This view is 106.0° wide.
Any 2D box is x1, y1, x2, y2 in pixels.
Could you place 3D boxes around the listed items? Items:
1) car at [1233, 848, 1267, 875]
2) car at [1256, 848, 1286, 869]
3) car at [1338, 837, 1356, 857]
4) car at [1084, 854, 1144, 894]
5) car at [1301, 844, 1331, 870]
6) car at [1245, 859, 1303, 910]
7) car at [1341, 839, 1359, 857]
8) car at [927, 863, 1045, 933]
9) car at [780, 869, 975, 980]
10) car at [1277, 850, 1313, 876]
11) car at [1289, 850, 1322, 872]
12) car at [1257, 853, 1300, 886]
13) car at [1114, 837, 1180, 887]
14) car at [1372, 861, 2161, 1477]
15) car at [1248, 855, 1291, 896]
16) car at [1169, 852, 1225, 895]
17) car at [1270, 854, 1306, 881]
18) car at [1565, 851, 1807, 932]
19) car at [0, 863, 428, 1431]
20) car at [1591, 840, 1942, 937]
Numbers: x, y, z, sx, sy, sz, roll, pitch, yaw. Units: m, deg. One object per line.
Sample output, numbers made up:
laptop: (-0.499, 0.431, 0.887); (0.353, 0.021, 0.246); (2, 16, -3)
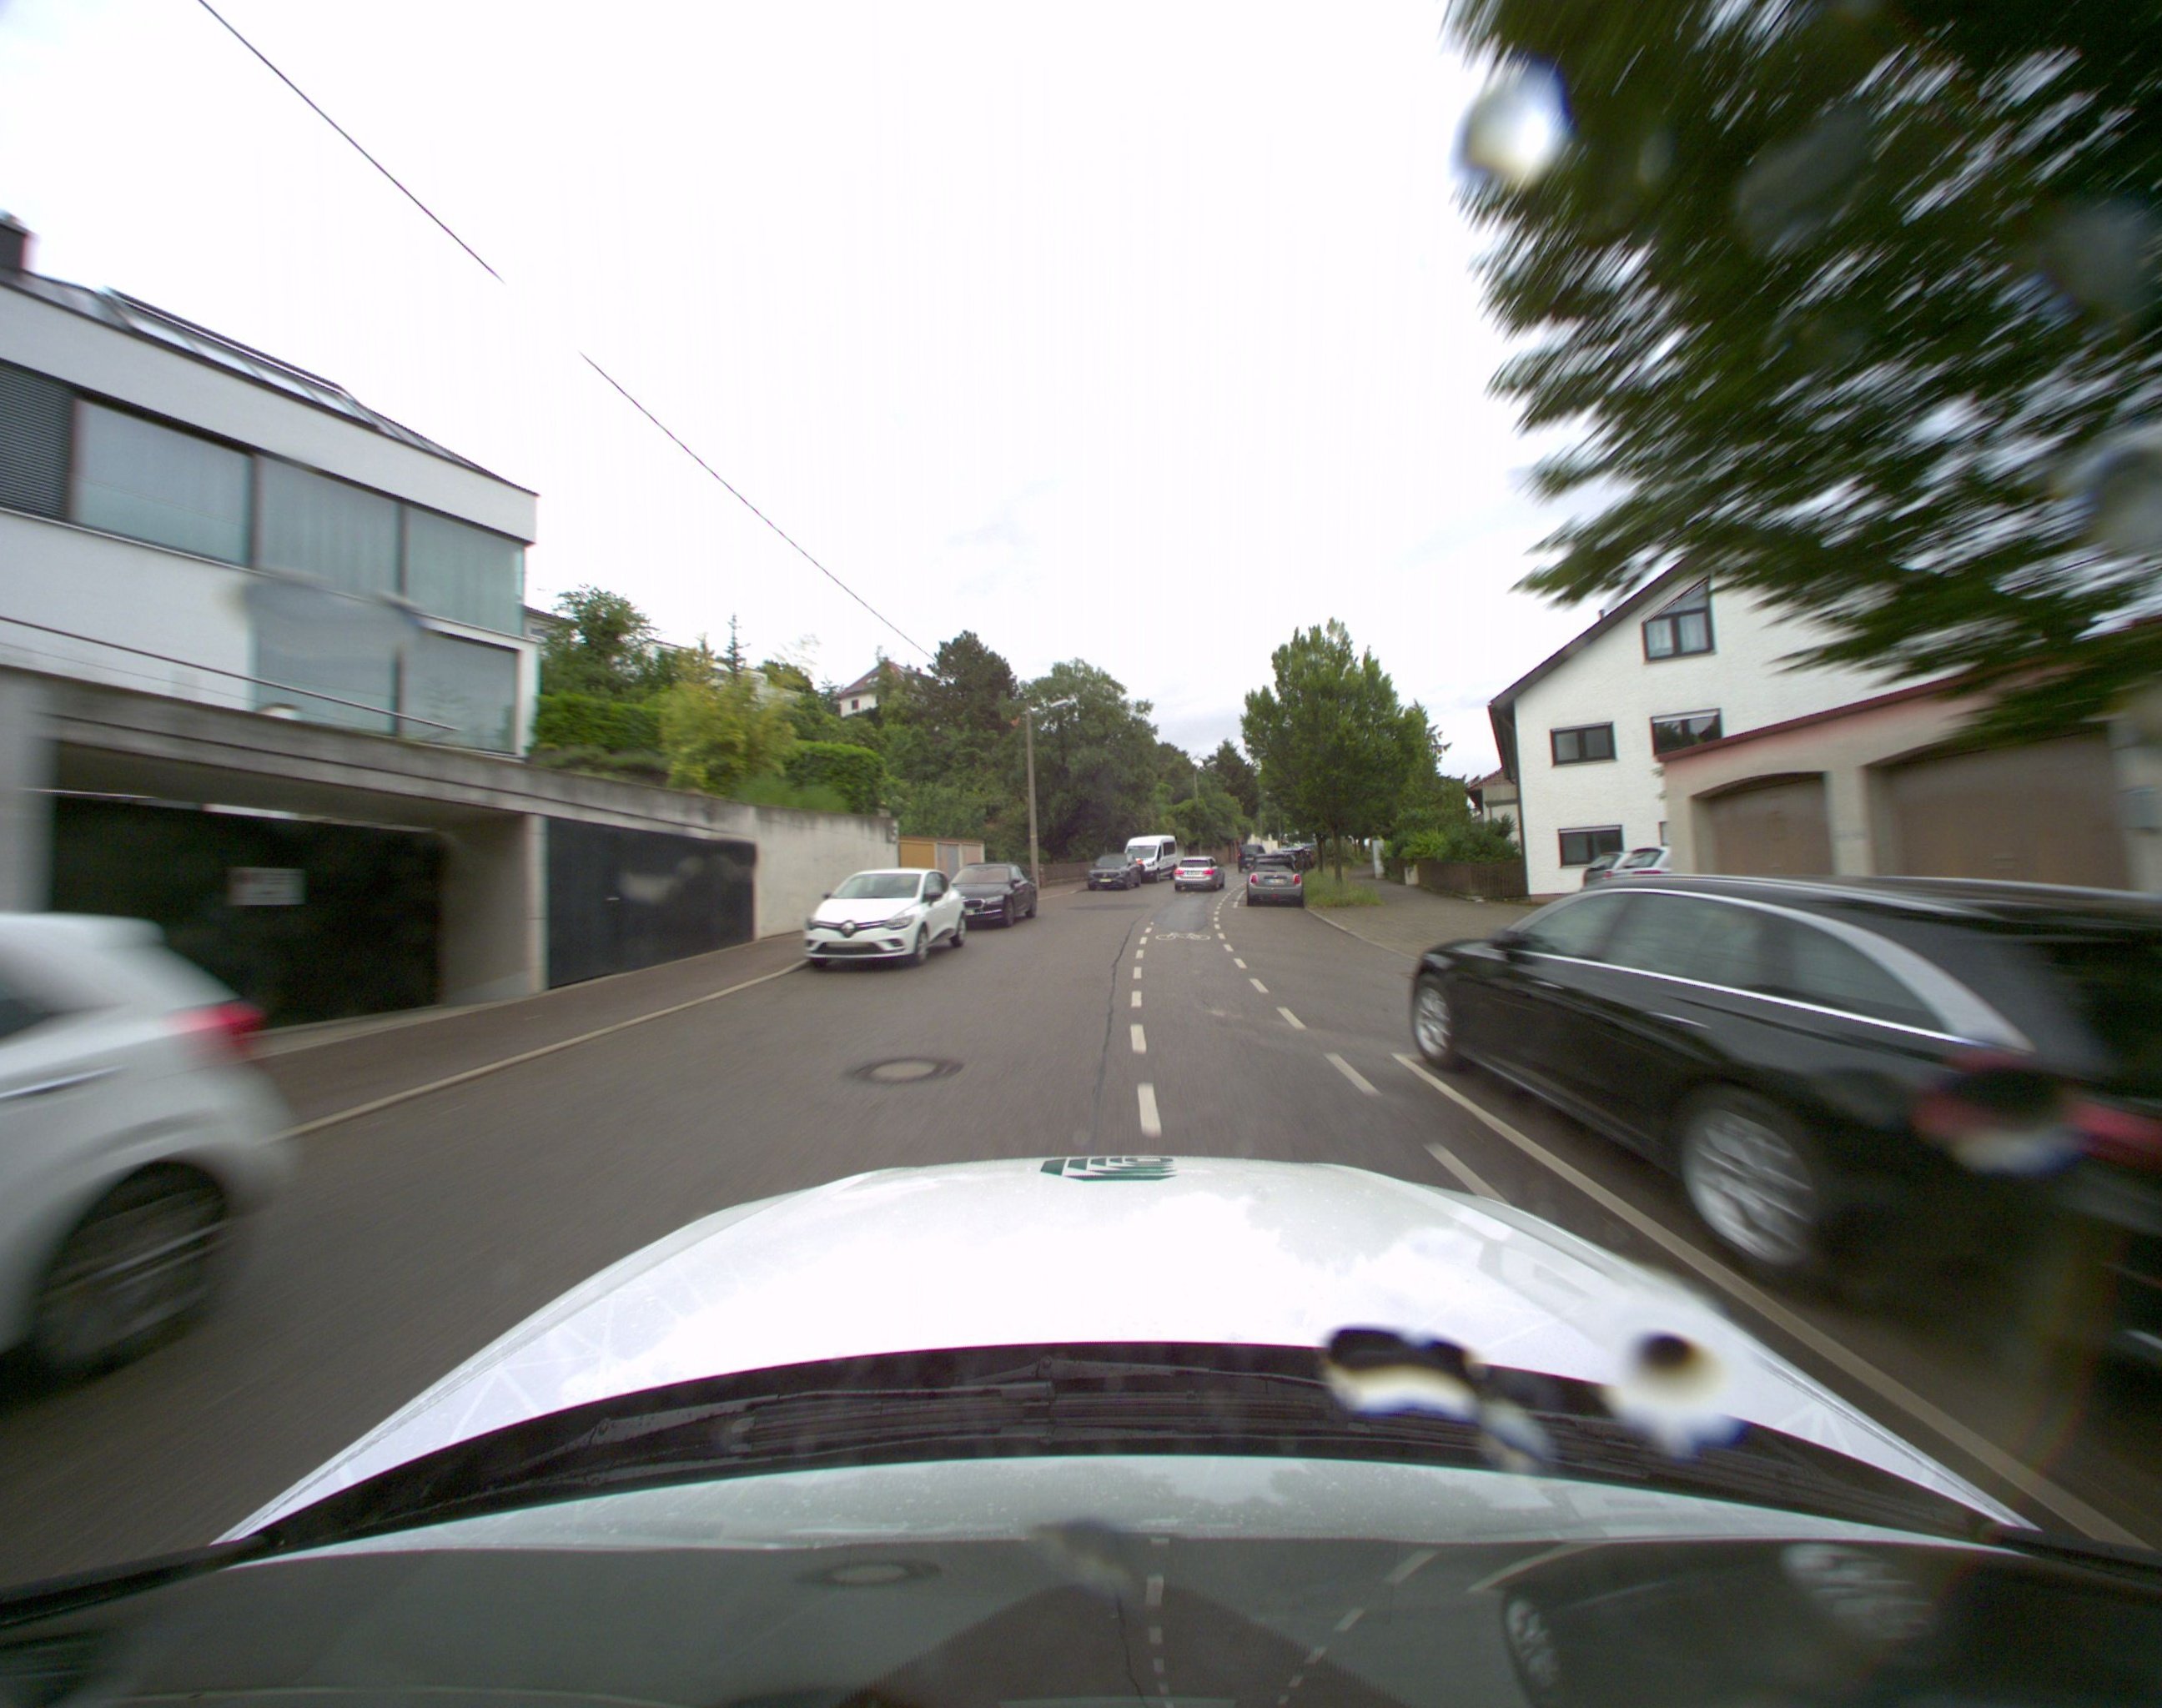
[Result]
car: (11.419, 0.499, 55.169); (1.982, 1.708, 4.009); (-1, -1, 8)
car: (16.204, 0.394, 69.242); (1.977, 1.708, 4.020); (-1, -1, 20)
car: (34.734, -0.959, 106.090); (2.156, 2.492, 6.063); (0, 1, 19)
car: (1.600, 0.879, 37.889); (1.882, 1.691, 4.562); (-2, 0, 13)
car: (17.922, 0.201, 61.954); (1.763, 1.852, 4.448); (-1, 1, 22)
car: (6.102, 0.913, 25.954); (1.657, 1.471, 3.722); (0, 0, 12)
car: (32.624, -0.733, 98.827); (1.977, 2.052, 5.145); (-1, 0, 18)
car: (-2.189, 0.982, 20.081); (1.703, 1.459, 4.693); (-2, -1, 8)
car: (-3.108, 1.023, 13.380); (1.823, 1.440, 4.046); (-2, -1, 5)
car: (13.760, 0.561, 52.190); (1.699, 1.556, 4.186); (0, 1, 22)
car: (15.815, 0.459, 57.249); (1.634, 1.481, 4.042); (-1, 0, 23)
car: (10.011, 0.736, 41.082); (1.762, 1.553, 4.750); (0, 0, 18)
car: (3.793, 0.359, 45.305); (2.077, 2.550, 6.127); (-2, 0, 19)
car: (3.365, 0.797, 4.489); (1.855, 1.469, 5.058); (1, 0, 2)
car: (7.590, 0.836, 32.748); (1.615, 1.563, 3.033); (-1, 0, 13)
car: (5.084, 0.811, 35.352); (2.011, 1.708, 4.230); (-1, -1, 13)
car: (12.032, 0.757, 47.150); (1.629, 1.424, 4.309); (0, 1, 19)
car: (12.438, 0.745, 16.999); (3.655, 1.465, 1.785); (2, -1, 13)
car: (-3.758, 0.817, 1.662); (1.621, 1.516, 3.834); (-2, 0, 2)
car: (11.628, 0.576, 14.171); (4.274, 1.465, 1.941); (1, -2, 12)
